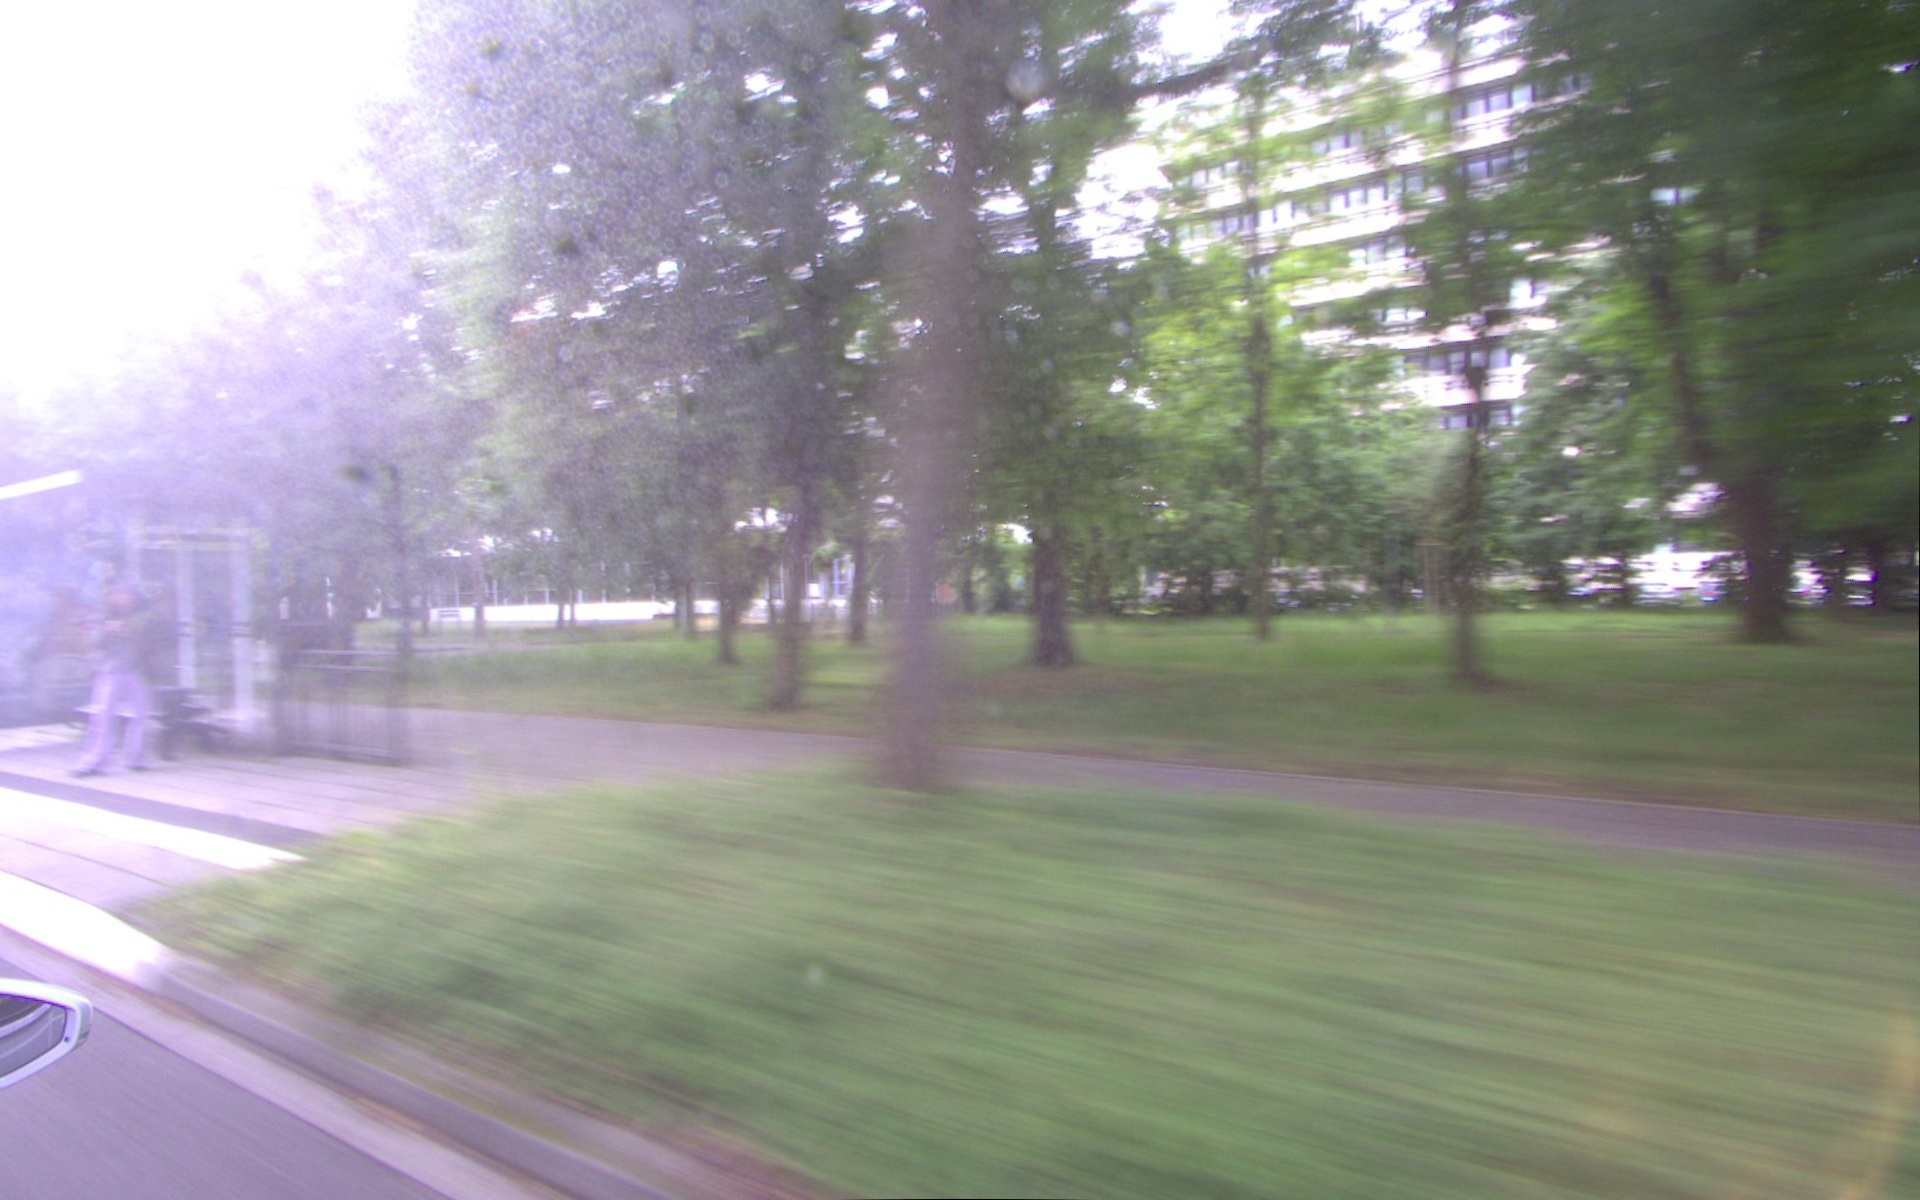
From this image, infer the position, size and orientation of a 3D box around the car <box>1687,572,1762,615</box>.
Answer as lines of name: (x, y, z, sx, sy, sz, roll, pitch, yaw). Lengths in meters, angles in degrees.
car: (34.768, -0.255, 45.644, 1.968, 1.817, 3.986, -1, -2, 27)

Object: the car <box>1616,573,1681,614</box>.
car: (32.013, -0.242, 46.672, 1.968, 1.750, 3.986, -1, -2, 27)

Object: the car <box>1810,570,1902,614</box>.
car: (38.660, -0.288, 43.300, 1.968, 1.785, 3.985, -1, -1, 27)

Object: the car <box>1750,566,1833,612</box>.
car: (36.852, -0.434, 44.507, 1.968, 1.906, 3.986, -1, -1, 27)

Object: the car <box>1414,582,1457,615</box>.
car: (24.722, -0.061, 52.006, 1.893, 1.639, 3.985, -1, 0, 27)

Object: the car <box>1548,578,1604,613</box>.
car: (29.741, -0.209, 48.461, 1.968, 1.639, 3.985, -1, 0, 27)

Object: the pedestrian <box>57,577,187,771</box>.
pedestrian: (-7.321, 0.612, 8.760, 0.688, 1.605, 0.652, 0, 2, 32)
